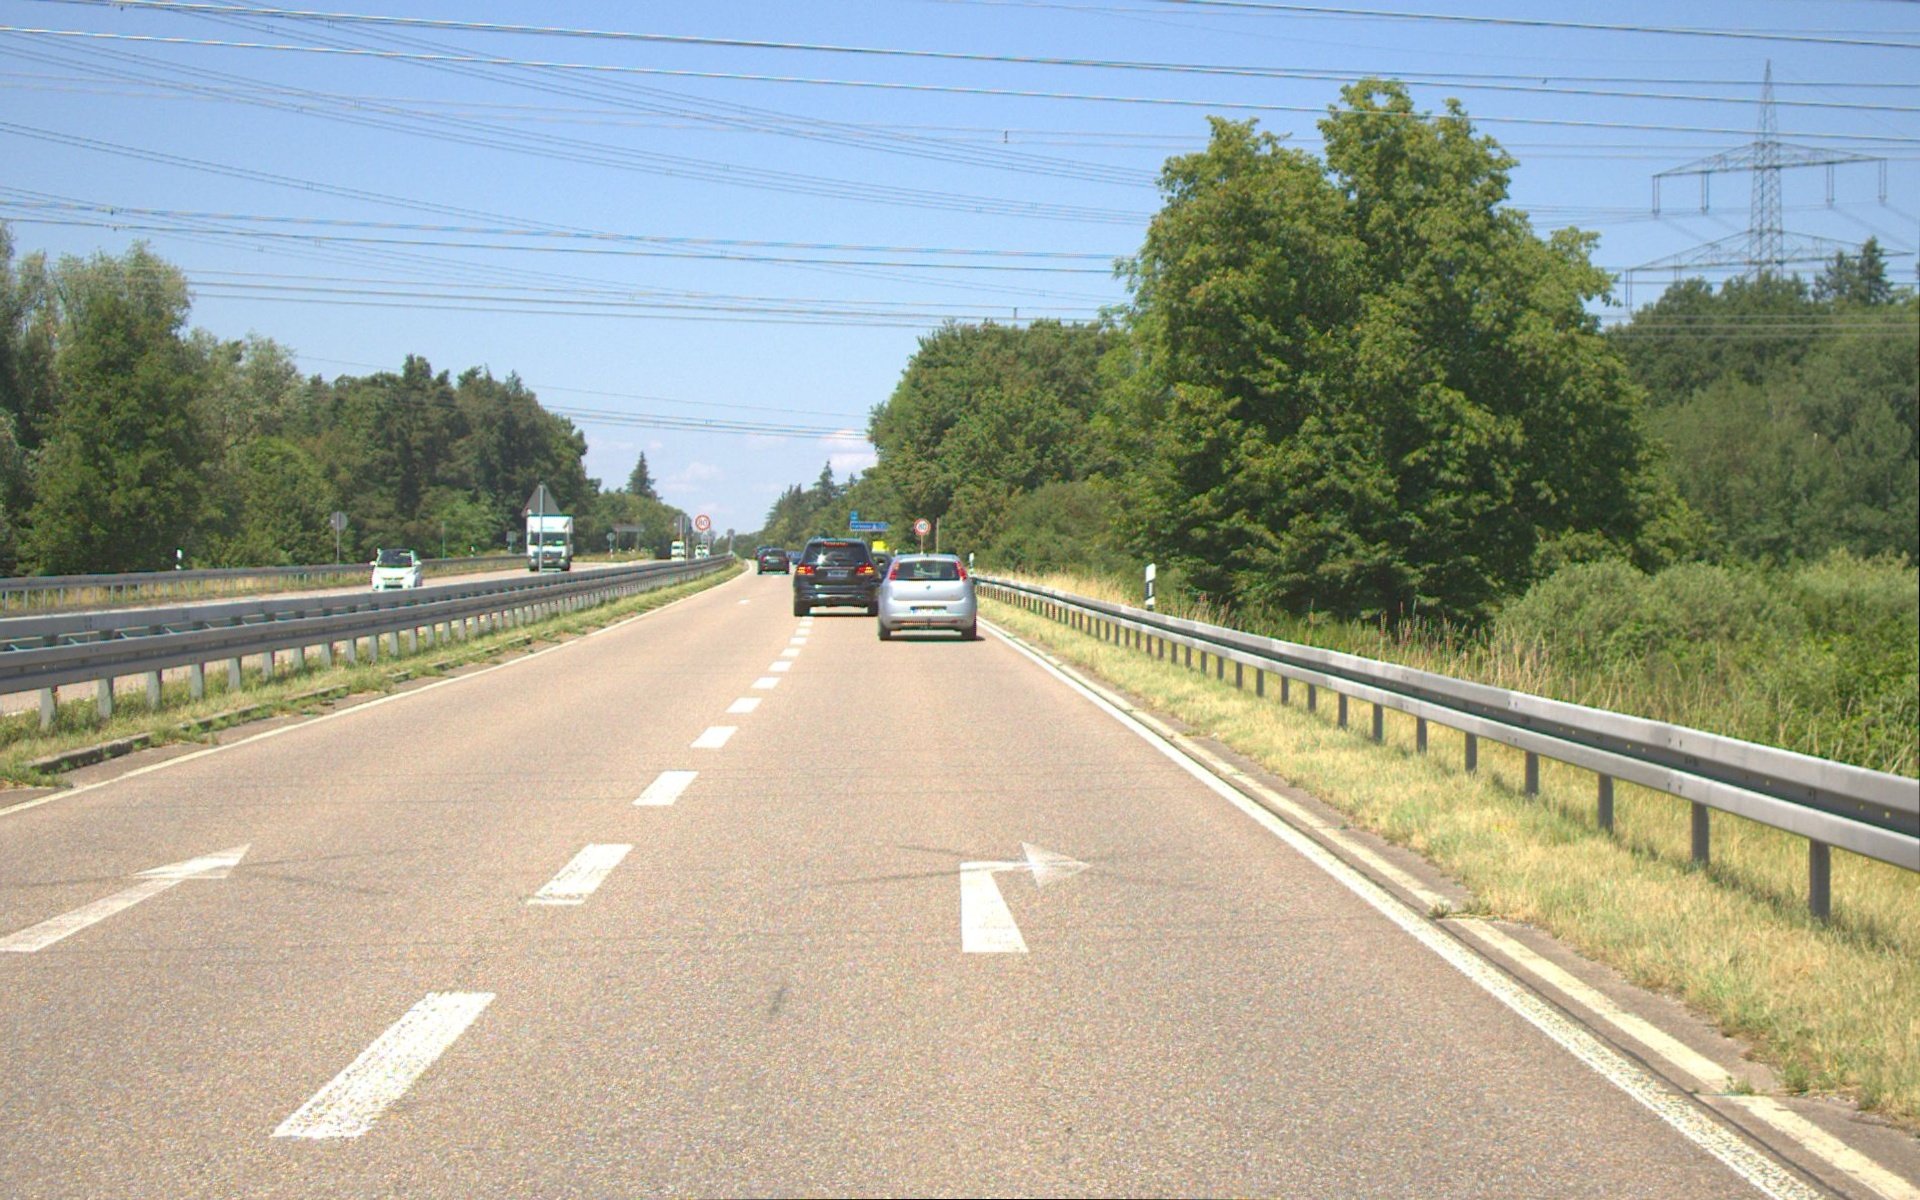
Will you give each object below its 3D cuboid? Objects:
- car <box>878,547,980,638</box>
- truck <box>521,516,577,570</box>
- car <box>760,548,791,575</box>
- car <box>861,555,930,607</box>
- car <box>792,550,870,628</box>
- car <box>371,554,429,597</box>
[{"bbox_3d":[-0.558,-0.143,59.349,1.640,1.463,3.419,3,1,-2],"label":"car"},{"bbox_3d":[-24.720,-3.412,207.177,2.718,3.182,8.406,0,1,-2],"label":"truck"},{"bbox_3d":[-10.467,-2.179,194.782,1.712,1.466,3.574,3,1,-3],"label":"car"},{"bbox_3d":[-1.772,-0.525,95.357,1.640,1.338,3.574,3,1,2],"label":"car"},{"bbox_3d":[-2.912,-0.266,77.534,1.640,1.648,3.574,3,1,-2],"label":"car"},{"bbox_3d":[-19.425,-0.867,119.336,1.533,1.444,3.702,0,1,-2],"label":"car"}]
